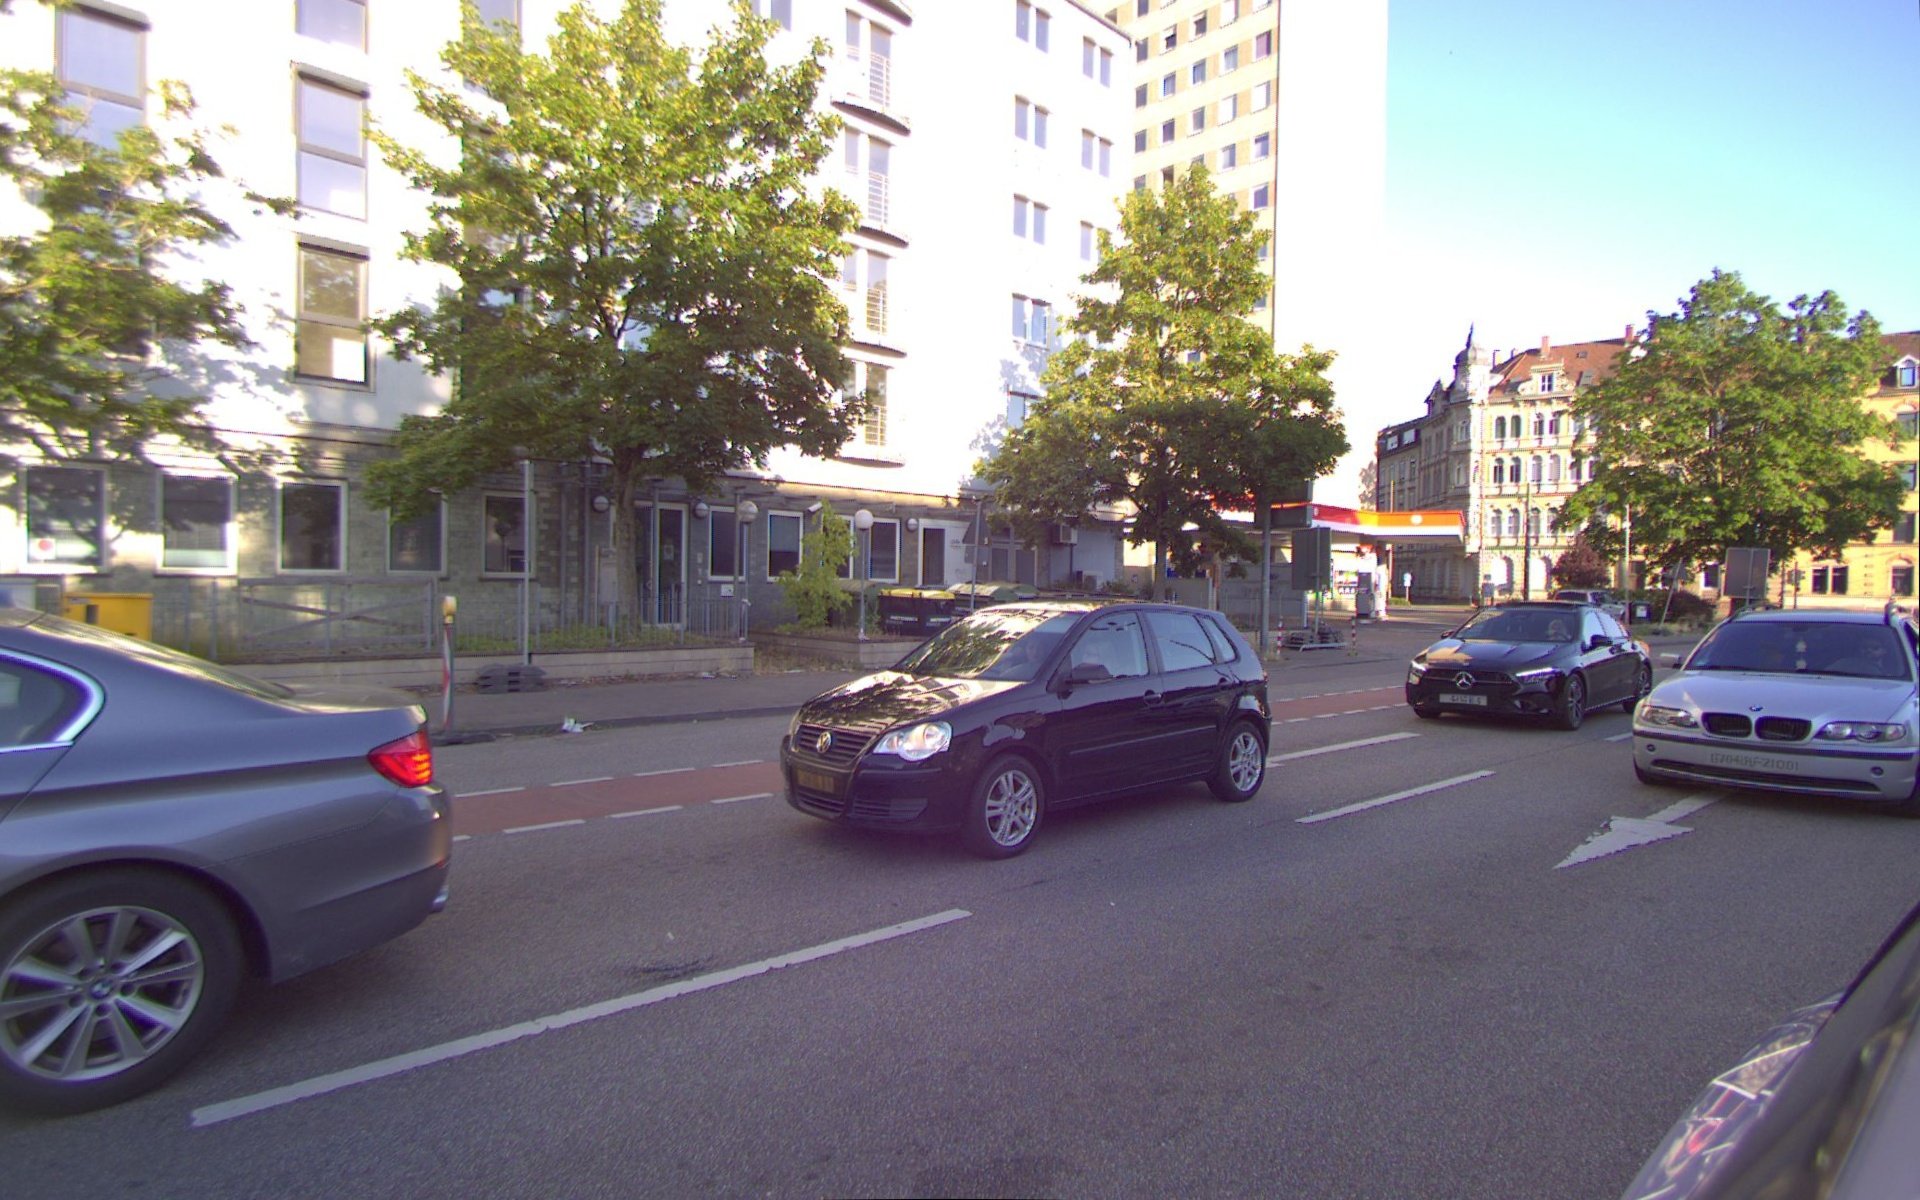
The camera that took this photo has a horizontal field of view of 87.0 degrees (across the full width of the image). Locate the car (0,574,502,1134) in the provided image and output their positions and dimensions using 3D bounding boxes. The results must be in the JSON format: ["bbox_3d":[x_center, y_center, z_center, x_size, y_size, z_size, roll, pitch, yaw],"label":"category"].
[{"bbox_3d":[-3.876,0.662,2.614,4.588,1.467,1.817,0,0,-43],"label":"car"}]

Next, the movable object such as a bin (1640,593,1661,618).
[{"bbox_3d":[29.422,0.227,43.105,0.675,1.031,0.544,0,1,-36],"label":"movable object such as a bin"}]

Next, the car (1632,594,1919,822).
[{"bbox_3d":[7.309,0.677,8.403,4.360,1.436,1.674,0,0,-39],"label":"car"}]

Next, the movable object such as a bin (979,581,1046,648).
[{"bbox_3d":[1.204,0.317,23.199,1.143,1.467,1.033,0,1,-44],"label":"movable object such as a bin"}]

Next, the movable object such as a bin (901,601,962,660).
[{"bbox_3d":[-0.555,0.571,19.478,0.851,1.058,0.807,2,1,45],"label":"movable object such as a bin"}]

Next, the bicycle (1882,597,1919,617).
[{"bbox_3d":[53.717,0.399,57.488,1.920,1.072,0.444,2,1,43],"label":"bicycle"}]

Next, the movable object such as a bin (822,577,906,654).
[{"bbox_3d":[-1.942,0.283,20.409,1.348,1.479,1.088,2,2,45],"label":"movable object such as a bin"}]

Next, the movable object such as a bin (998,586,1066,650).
[{"bbox_3d":[1.563,0.371,22.070,1.143,1.345,0.954,0,1,-44],"label":"movable object such as a bin"}]

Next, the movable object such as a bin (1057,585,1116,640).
[{"bbox_3d":[3.084,0.288,24.624,1.080,1.299,0.954,0,1,-44],"label":"movable object such as a bin"}]

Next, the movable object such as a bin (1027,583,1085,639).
[{"bbox_3d":[2.404,0.257,25.353,1.080,1.345,0.954,0,1,-44],"label":"movable object such as a bin"}]

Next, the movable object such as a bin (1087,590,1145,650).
[{"bbox_3d":[3.643,0.445,23.652,0.938,1.345,0.954,0,1,-43],"label":"movable object such as a bin"}]

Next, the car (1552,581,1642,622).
[{"bbox_3d":[25.771,0.029,40.912,3.723,1.535,1.691,-1,2,-34],"label":"car"}]

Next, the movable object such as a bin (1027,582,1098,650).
[{"bbox_3d":[2.132,0.317,21.062,1.143,1.345,0.954,0,1,-44],"label":"movable object such as a bin"}]

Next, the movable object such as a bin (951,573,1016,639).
[{"bbox_3d":[0.557,0.127,24.191,1.143,1.517,1.033,0,1,-44],"label":"movable object such as a bin"}]

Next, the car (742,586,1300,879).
[{"bbox_3d":[0.593,0.649,6.921,3.804,1.467,1.583,0,0,-41],"label":"car"}]

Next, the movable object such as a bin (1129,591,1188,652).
[{"bbox_3d":[4.542,0.473,23.183,0.938,1.345,0.954,0,1,-43],"label":"movable object such as a bin"}]

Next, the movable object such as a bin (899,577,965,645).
[{"bbox_3d":[-0.661,0.233,23.630,1.143,1.517,1.033,0,1,-44],"label":"movable object such as a bin"}]

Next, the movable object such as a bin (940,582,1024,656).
[{"bbox_3d":[0.451,0.357,20.887,1.348,1.441,1.088,2,2,45],"label":"movable object such as a bin"}]

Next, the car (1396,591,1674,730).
[{"bbox_3d":[7.243,0.623,12.604,3.973,1.467,1.731,0,0,-40],"label":"car"}]

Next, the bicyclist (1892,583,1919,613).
[{"bbox_3d":[53.750,-0.141,57.518,1.062,1.669,0.721,2,1,43],"label":"bicyclist"}]

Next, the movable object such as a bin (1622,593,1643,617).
[{"bbox_3d":[29.108,0.212,43.791,0.675,1.031,0.544,0,1,-36],"label":"movable object such as a bin"}]
